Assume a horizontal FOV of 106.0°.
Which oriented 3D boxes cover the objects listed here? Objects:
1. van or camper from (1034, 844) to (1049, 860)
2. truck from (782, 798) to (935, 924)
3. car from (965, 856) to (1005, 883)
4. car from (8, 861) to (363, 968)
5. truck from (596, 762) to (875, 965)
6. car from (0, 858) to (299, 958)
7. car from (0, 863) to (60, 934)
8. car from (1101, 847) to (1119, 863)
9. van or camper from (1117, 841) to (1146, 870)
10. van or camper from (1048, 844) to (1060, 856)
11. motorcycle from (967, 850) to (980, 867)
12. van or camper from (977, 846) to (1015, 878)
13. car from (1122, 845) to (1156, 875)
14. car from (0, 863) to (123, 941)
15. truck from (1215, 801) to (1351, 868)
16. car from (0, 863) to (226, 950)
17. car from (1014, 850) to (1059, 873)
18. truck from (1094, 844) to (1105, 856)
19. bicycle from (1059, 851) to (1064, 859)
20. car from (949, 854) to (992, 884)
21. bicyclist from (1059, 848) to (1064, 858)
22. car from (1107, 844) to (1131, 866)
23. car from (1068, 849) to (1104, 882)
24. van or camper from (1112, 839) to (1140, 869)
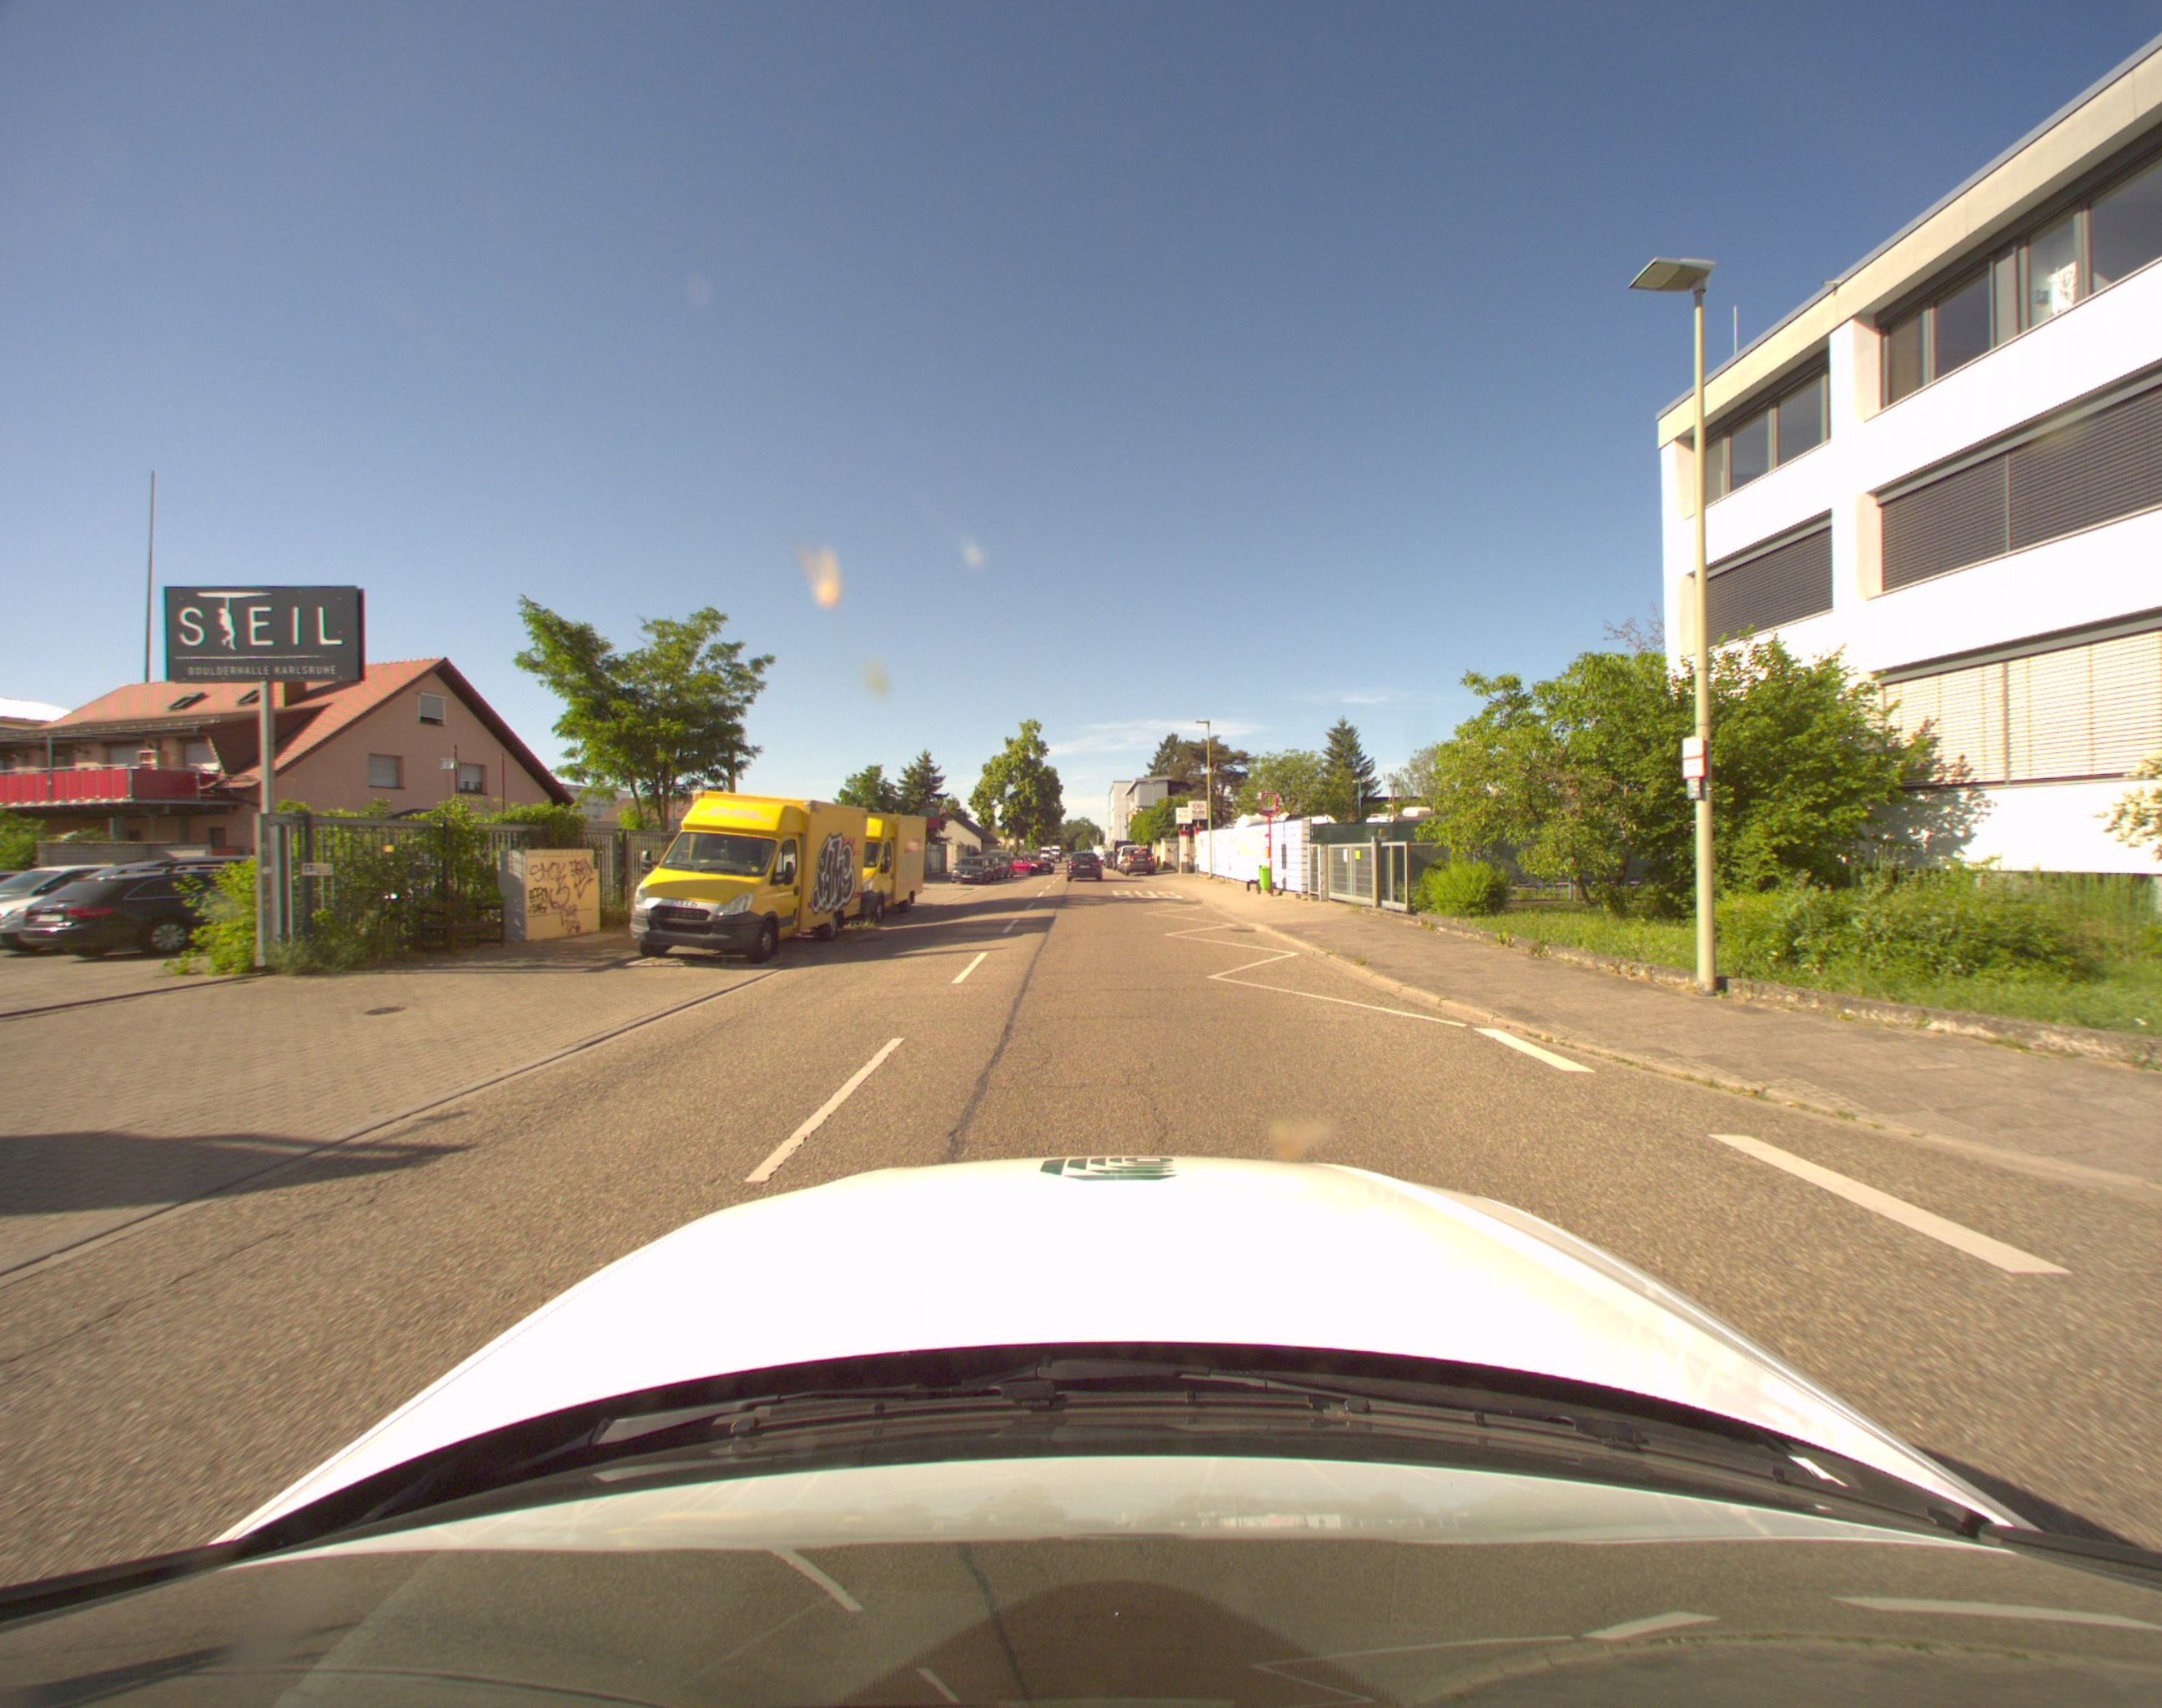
[{"bbox_3d":[-6.150,-0.343,126.142,2.318,2.362,6.520,-1,0,-3],"label":"van or camper"},{"bbox_3d":[-5.759,0.123,22.199,2.184,2.902,6.441,1,1,1],"label":"truck"},{"bbox_3d":[-5.725,0.881,49.094,1.687,1.469,4.176,-1,1,2],"label":"car"},{"bbox_3d":[-16.174,0.985,15.065,1.682,1.578,4.060,-1,1,14],"label":"car"},{"bbox_3d":[-5.914,0.119,15.240,2.394,2.983,6.374,1,0,1],"label":"truck"},{"bbox_3d":[-18.569,0.953,16.175,1.682,1.661,4.060,-1,1,14],"label":"car"},{"bbox_3d":[-25.902,1.055,17.839,1.704,1.606,4.125,-1,0,4],"label":"car"},{"bbox_3d":[3.258,0.086,91.856,1.912,1.825,4.080,-1,0,0],"label":"car"},{"bbox_3d":[3.646,0.108,59.274,1.912,2.019,4.080,-1,0,0],"label":"van or camper"},{"bbox_3d":[-5.810,-0.862,175.476,2.318,2.362,6.520,-1,0,-3],"label":"van or camper"},{"bbox_3d":[-9.267,0.374,70.374,0.774,1.445,2.038,-1,0,1],"label":"motorcycle"},{"bbox_3d":[-5.518,0.497,53.613,1.884,1.926,4.267,-2,0,1],"label":"van or camper"},{"bbox_3d":[3.701,0.368,52.795,1.912,1.825,4.080,-1,0,0],"label":"car"},{"bbox_3d":[-23.549,1.045,17.103,1.682,1.578,4.060,-1,1,14],"label":"car"},{"bbox_3d":[11.909,-1.147,48.447,7.359,3.770,2.829,-1,0,-4],"label":"truck"},{"bbox_3d":[-21.015,1.030,17.054,1.682,1.578,3.933,-1,1,14],"label":"car"},{"bbox_3d":[-3.219,0.523,57.798,1.884,1.485,4.012,-3,1,-24],"label":"car"},{"bbox_3d":[3.613,-0.800,158.545,1.987,2.287,6.956,-1,0,1],"label":"truck"},{"bbox_3d":[-3.040,0.198,127.300,0.826,1.153,2.939,-1,0,-1],"label":"bicycle"},{"bbox_3d":[-5.860,0.765,43.725,1.752,1.403,4.555,-1,1,-1],"label":"car"},{"bbox_3d":[-3.030,-0.179,127.339,0.693,1.539,0.634,-1,0,-2],"label":"bicyclist"},{"bbox_3d":[3.343,0.067,71.832,1.912,1.825,4.080,-1,0,0],"label":"car"},{"bbox_3d":[0.305,0.544,41.145,1.705,1.532,3.689,-1,1,1],"label":"car"},{"bbox_3d":[3.545,-0.028,64.607,1.987,2.310,4.000,-1,0,0],"label":"van or camper"}]
